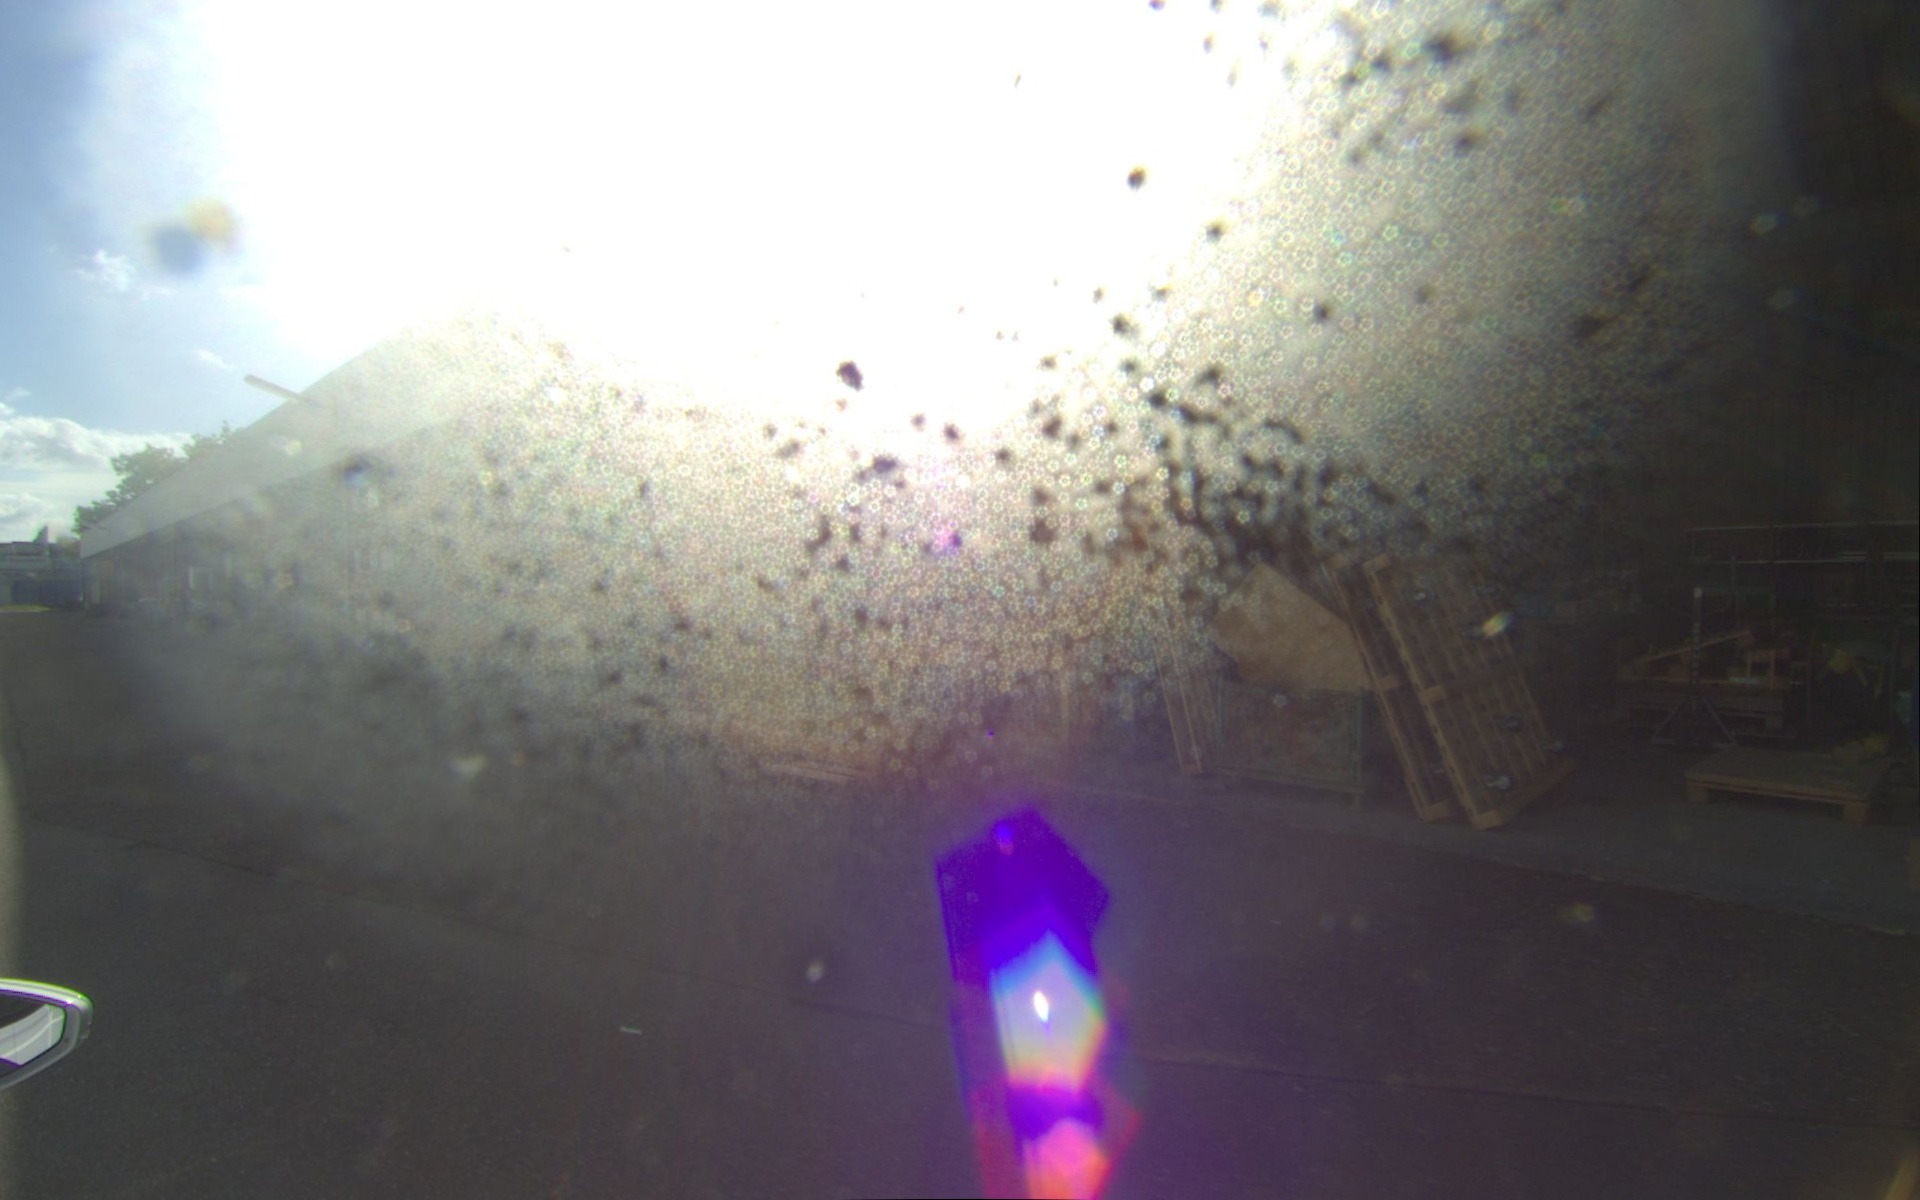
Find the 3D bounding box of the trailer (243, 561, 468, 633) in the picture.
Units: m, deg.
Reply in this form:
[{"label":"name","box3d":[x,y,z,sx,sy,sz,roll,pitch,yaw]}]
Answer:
[{"label":"trailer","box3d":[-18.780,-0.122,31.362,5.726,2.060,2.057,-1,2,-44]}]

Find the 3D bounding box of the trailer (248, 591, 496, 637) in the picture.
[{"label":"trailer","box3d":[-16.788,0.351,28.877,2.118,1.148,5.813,1,1,43]}]

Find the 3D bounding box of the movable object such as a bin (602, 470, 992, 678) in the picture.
[{"label":"movable object such as a bin","box3d":[-2.625,-0.381,17.437,6.144,2.949,2.986,0,1,-44]}]

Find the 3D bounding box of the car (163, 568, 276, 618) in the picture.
[{"label":"car","box3d":[-37.390,-0.310,50.606,4.404,2.339,1.897,2,-2,-44]}]

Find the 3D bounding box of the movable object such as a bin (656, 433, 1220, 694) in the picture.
[{"label":"movable object such as a bin","box3d":[0.224,-0.431,15.663,9.132,2.949,3.179,0,1,-44]}]

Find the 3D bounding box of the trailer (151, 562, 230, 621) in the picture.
[{"label":"trailer","box3d":[-32.884,-0.358,42.825,2.506,2.430,1.710,-1,0,-44]}]
